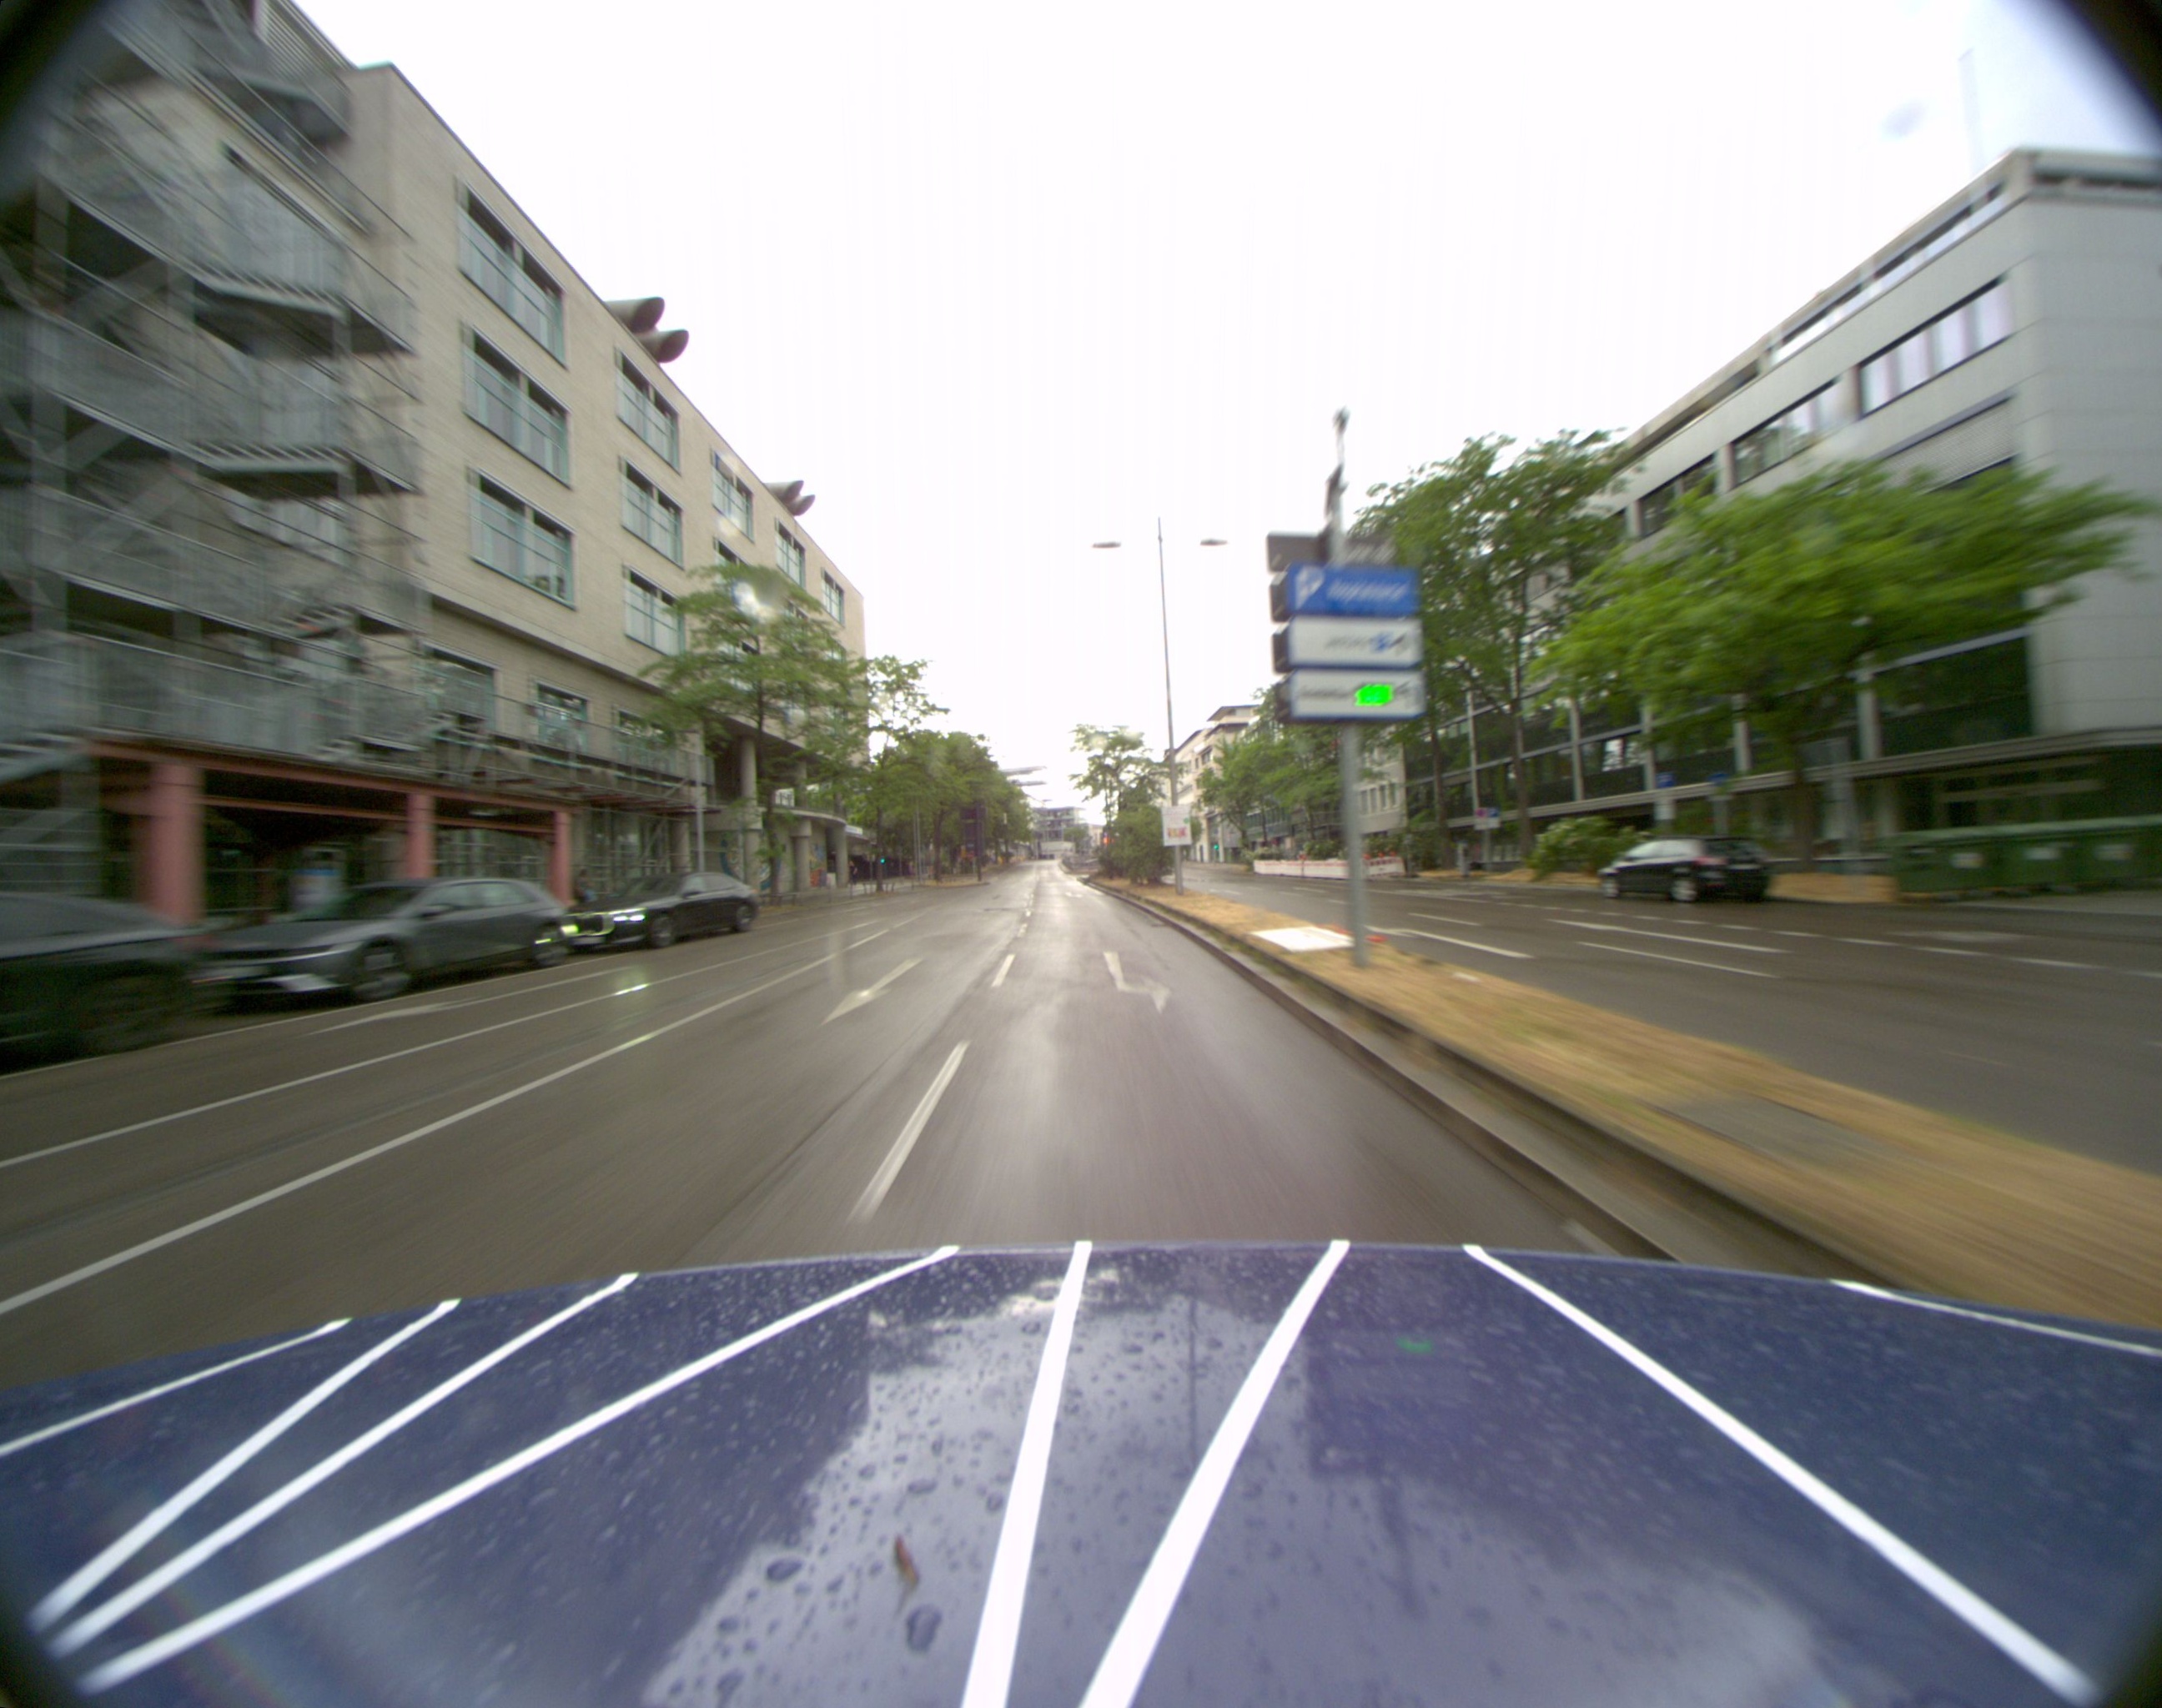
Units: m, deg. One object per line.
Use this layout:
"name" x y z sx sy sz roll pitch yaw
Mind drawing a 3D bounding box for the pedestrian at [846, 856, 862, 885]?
"pedestrian" -16.362 1.189 54.716 0.871 2.002 0.758 -2 1 -3

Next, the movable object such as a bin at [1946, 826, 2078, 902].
"movable object such as a bin" 18.560 0.193 15.183 1.281 1.418 1.088 -2 1 1

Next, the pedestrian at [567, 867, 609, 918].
"pedestrian" -15.907 1.234 24.547 0.705 1.586 0.923 -2 0 -1

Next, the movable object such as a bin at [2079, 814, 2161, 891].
"movable object such as a bin" 21.304 -0.051 15.179 1.281 1.480 1.088 -2 1 1

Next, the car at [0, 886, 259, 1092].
"car" -10.056 1.198 5.841 1.998 1.636 4.863 -2 0 3

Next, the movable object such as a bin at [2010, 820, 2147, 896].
"movable object such as a bin" 19.910 0.068 15.198 1.281 1.418 1.088 -2 1 1

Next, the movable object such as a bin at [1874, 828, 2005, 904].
"movable object such as a bin" 17.119 0.233 15.193 1.362 1.418 1.088 -2 1 1

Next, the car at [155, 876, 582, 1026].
"car" -9.871 1.208 11.214 1.866 1.591 4.593 -2 0 1

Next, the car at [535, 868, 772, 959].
"car" -9.232 1.190 17.129 1.998 1.591 5.291 -2 0 4

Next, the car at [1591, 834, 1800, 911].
"car" 14.864 0.397 18.704 1.783 1.626 4.023 -2 0 -2
